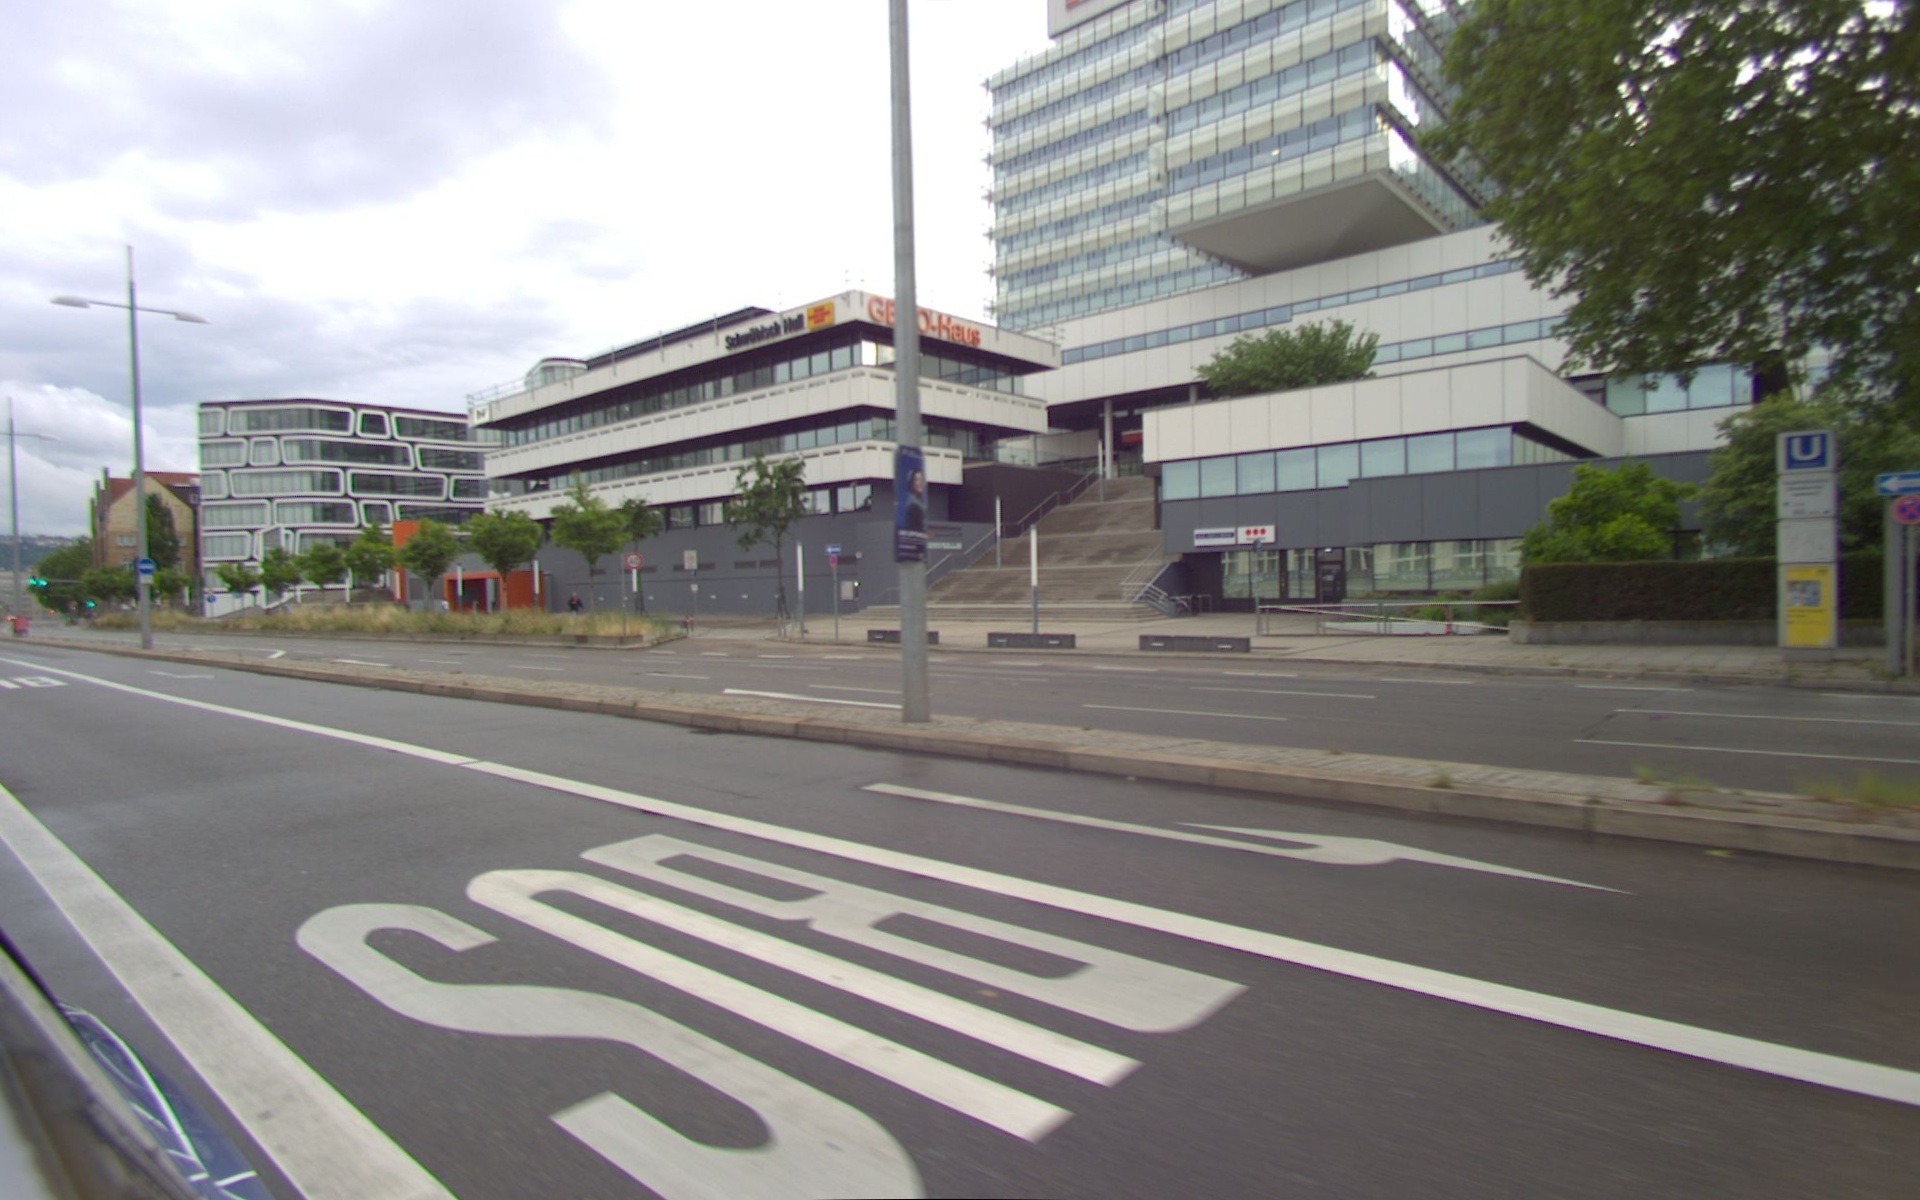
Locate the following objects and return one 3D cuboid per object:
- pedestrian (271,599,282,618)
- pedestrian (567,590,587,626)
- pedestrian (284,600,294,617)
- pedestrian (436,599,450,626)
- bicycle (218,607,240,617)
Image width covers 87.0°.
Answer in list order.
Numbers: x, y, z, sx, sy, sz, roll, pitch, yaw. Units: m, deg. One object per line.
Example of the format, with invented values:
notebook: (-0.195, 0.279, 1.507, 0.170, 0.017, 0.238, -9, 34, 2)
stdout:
pedestrian: (-60.880, 0.772, 90.118, 0.798, 1.670, 0.611, 0, -1, 43)
pedestrian: (-19.854, 0.407, 52.473, 0.628, 1.821, 0.776, 0, 1, 42)
pedestrian: (-65.071, 0.806, 98.172, 0.604, 1.623, 0.640, -3, 2, -45)
pedestrian: (-34.107, 0.820, 66.734, 0.628, 1.821, 0.623, 0, 1, 42)
bicycle: (-63.079, 1.032, 87.335, 1.638, 0.864, 0.608, 0, 1, 9)
